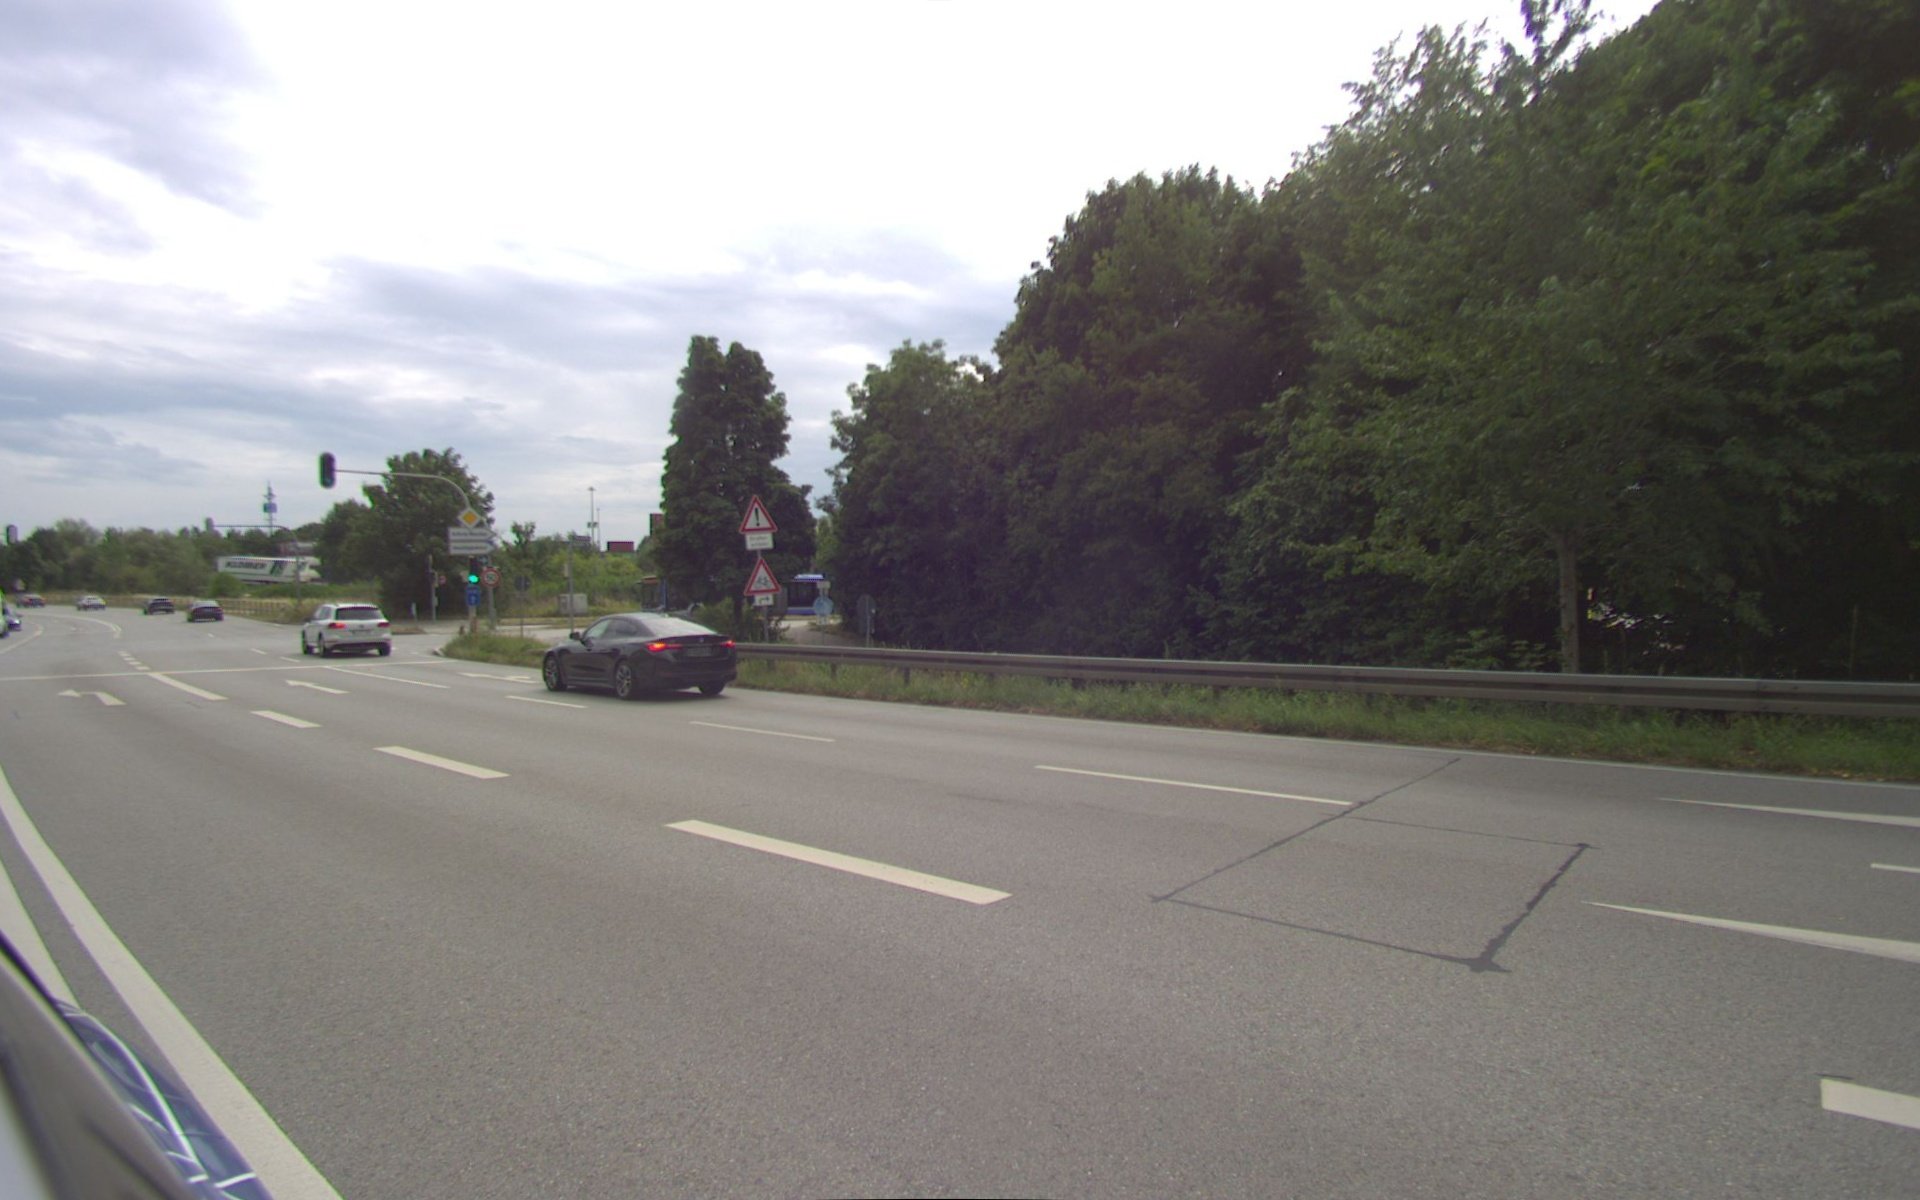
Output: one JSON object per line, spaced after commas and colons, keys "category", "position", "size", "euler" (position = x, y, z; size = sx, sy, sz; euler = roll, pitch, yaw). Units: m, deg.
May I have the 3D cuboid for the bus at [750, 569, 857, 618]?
{"category": "bus", "position": [-11.344, -0.487, 74.194], "size": [3.118, 3.372, 7.725], "euler": [-1, 0, 38]}

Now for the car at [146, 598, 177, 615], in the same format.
{"category": "car", "position": [-71.054, 0.541, 90.070], "size": [1.720, 1.395, 4.003], "euler": [-4, 3, -44]}

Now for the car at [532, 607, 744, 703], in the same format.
{"category": "car", "position": [-5.903, 0.930, 18.202], "size": [4.549, 1.509, 1.698], "euler": [-2, -1, 44]}

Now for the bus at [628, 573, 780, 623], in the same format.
{"category": "bus", "position": [-16.767, -0.204, 67.193], "size": [3.118, 3.069, 9.945], "euler": [-1, 0, 38]}

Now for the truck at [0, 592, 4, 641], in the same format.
{"category": "truck", "position": [-53.239, 0.895, 54.489], "size": [2.344, 2.613, 6.007], "euler": [-1, 0, -42]}

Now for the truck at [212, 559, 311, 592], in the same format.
{"category": "truck", "position": [-106.137, -3.689, 153.861], "size": [14.054, 4.357, 3.353], "euler": [3, 1, 10]}

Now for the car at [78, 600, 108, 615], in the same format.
{"category": "car", "position": [-91.824, 0.770, 107.149], "size": [3.996, 1.497, 1.723], "euler": [0, 3, 39]}

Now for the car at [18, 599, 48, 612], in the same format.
{"category": "car", "position": [-109.541, 0.592, 119.551], "size": [3.990, 1.395, 1.726], "euler": [0, 3, 35]}

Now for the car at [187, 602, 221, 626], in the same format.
{"category": "car", "position": [-51.548, 0.935, 68.963], "size": [1.717, 1.497, 4.209], "euler": [-1, 1, -38]}

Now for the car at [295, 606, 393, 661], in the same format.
{"category": "car", "position": [-20.217, 1.070, 33.105], "size": [1.836, 1.656, 4.741], "euler": [0, -1, -43]}

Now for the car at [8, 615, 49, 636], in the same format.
{"category": "car", "position": [-60.386, 1.682, 65.651], "size": [1.718, 1.335, 4.006], "euler": [2, -2, -40]}
